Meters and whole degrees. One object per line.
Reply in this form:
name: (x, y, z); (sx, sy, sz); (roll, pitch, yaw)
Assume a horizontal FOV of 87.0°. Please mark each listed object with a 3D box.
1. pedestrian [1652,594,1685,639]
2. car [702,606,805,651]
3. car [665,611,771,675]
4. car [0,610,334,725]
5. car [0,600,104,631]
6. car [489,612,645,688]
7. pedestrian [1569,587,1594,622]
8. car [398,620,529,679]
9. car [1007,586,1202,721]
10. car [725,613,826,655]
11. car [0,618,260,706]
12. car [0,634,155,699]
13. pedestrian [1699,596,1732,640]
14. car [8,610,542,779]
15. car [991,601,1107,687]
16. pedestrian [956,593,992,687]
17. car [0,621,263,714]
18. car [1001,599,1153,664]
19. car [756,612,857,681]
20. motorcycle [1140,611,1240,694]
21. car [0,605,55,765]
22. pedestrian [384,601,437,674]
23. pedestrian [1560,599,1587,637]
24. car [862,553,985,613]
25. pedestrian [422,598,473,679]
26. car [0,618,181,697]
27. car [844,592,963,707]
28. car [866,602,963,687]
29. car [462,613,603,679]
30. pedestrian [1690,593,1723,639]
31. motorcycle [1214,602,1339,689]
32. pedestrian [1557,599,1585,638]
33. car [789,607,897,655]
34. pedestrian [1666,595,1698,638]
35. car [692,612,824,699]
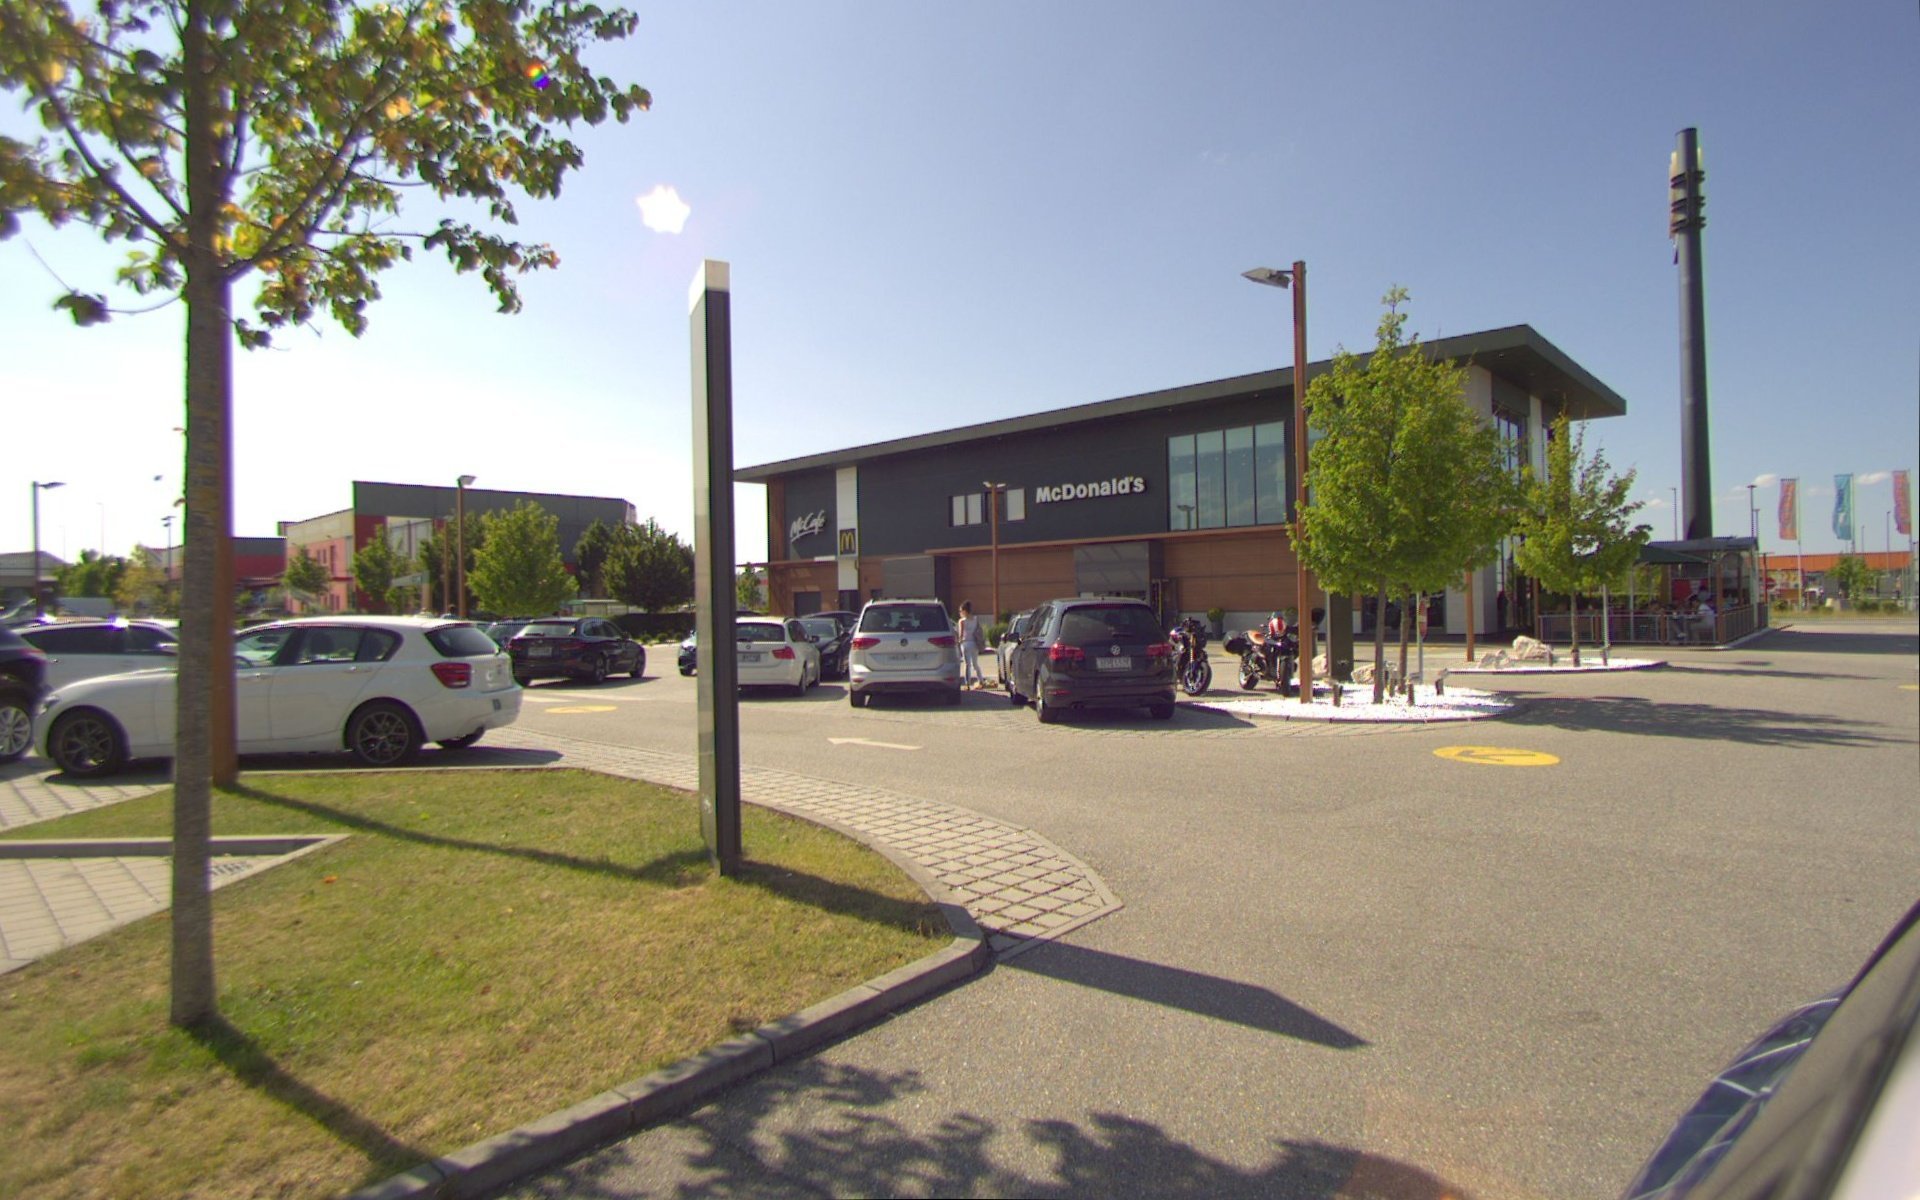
pedestrian: (20.327, 0.465, 29.048); (0.712, 1.274, 0.517); (-2, -2, 39)
car: (-8.675, 1.165, 42.555); (3.956, 1.727, 1.677); (-1, 0, -25)
car: (-6.365, 1.087, 27.122); (1.851, 1.530, 4.543); (-1, -1, -2)
car: (-11.983, 0.941, 14.828); (4.382, 1.490, 1.916); (-1, -1, -6)
car: (-70.422, 1.208, 78.123); (2.291, 2.273, 6.472); (-2, -1, 42)
car: (-8.789, 1.054, 23.049); (1.945, 1.530, 4.418); (-1, -1, -2)
pedestrian: (20.568, 0.150, 33.507); (0.571, 1.115, 0.646); (-2, -2, 41)
car: (-13.464, 1.290, 27.701); (1.674, 1.444, 3.902); (-1, -1, 0)
car: (1.806, 0.647, 14.071); (1.859, 1.556, 4.193); (-1, -1, -3)
car: (-7.277, 1.312, 39.856); (3.693, 1.462, 1.678); (-2, -1, -19)
car: (-16.211, 1.156, 19.642); (3.916, 1.508, 1.824); (-1, -1, -14)
car: (-24.161, 1.745, 26.865); (3.970, 1.576, 1.810); (-1, -1, -12)
pedestrian: (22.363, 0.530, 29.954); (0.725, 1.274, 0.565); (-2, -2, 38)
car: (-6.640, 0.866, 10.221); (4.103, 1.444, 1.845); (-1, -1, -4)
car: (1.632, 0.851, 20.166); (1.800, 1.466, 4.661); (-1, -2, -1)
pedestrian: (0.267, 0.738, 19.008); (0.600, 1.735, 0.562); (-1, -1, 6)
car: (-14.505, 1.120, 17.296); (3.921, 1.421, 1.822); (-1, -1, -3)
car: (3.414, 0.902, 30.059); (4.144, 1.623, 1.792); (-3, 1, -3)
car: (-3.602, 1.050, 24.405); (1.794, 1.467, 4.075); (-1, -1, 0)
motorcycle: (3.736, 0.839, 16.662); (0.804, 1.247, 2.144); (-1, -2, -9)
car: (-10.360, 0.849, 8.658); (1.723, 1.596, 4.088); (-1, 0, -3)
pedestrian: (-14.933, 1.018, 27.512); (0.887, 1.940, 0.916); (-1, -1, 8)
pedestrian: (18.776, 0.553, 30.963); (0.631, 1.138, 0.517); (-2, -2, 39)
car: (-1.306, -0.576, 35.096); (4.060, 1.946, 1.760); (-1, -1, -8)
pedestrian: (-12.698, 0.940, 25.078); (1.009, 1.940, 0.902); (0, -1, -35)
car: (-19.425, 1.204, 21.439); (4.261, 1.531, 1.782); (-1, -1, -16)
car: (-0.926, 0.767, 16.962); (1.714, 1.661, 4.068); (-1, -1, -3)
car: (-0.877, 0.880, 21.530); (1.778, 1.614, 3.998); (-1, -1, 1)
car: (-11.060, 1.138, 26.564); (1.945, 1.530, 4.418); (-1, -1, -2)
pedestrian: (21.352, 0.458, 28.954); (0.725, 1.274, 0.565); (-2, -2, 38)
motorcycle: (5.038, 0.725, 16.314); (1.049, 1.267, 2.253); (-2, -2, -6)
pedestrian: (18.357, 0.549, 30.428); (0.631, 1.138, 0.517); (-2, -2, 39)
car: (-4.350, 1.134, 37.559); (3.764, 1.653, 1.761); (-1, -1, -14)
pedestrian: (21.762, 0.487, 30.501); (0.712, 1.274, 0.517); (-2, -2, 39)
car: (-3.673, 0.968, 19.083); (1.759, 1.426, 4.082); (-1, -1, -1)
